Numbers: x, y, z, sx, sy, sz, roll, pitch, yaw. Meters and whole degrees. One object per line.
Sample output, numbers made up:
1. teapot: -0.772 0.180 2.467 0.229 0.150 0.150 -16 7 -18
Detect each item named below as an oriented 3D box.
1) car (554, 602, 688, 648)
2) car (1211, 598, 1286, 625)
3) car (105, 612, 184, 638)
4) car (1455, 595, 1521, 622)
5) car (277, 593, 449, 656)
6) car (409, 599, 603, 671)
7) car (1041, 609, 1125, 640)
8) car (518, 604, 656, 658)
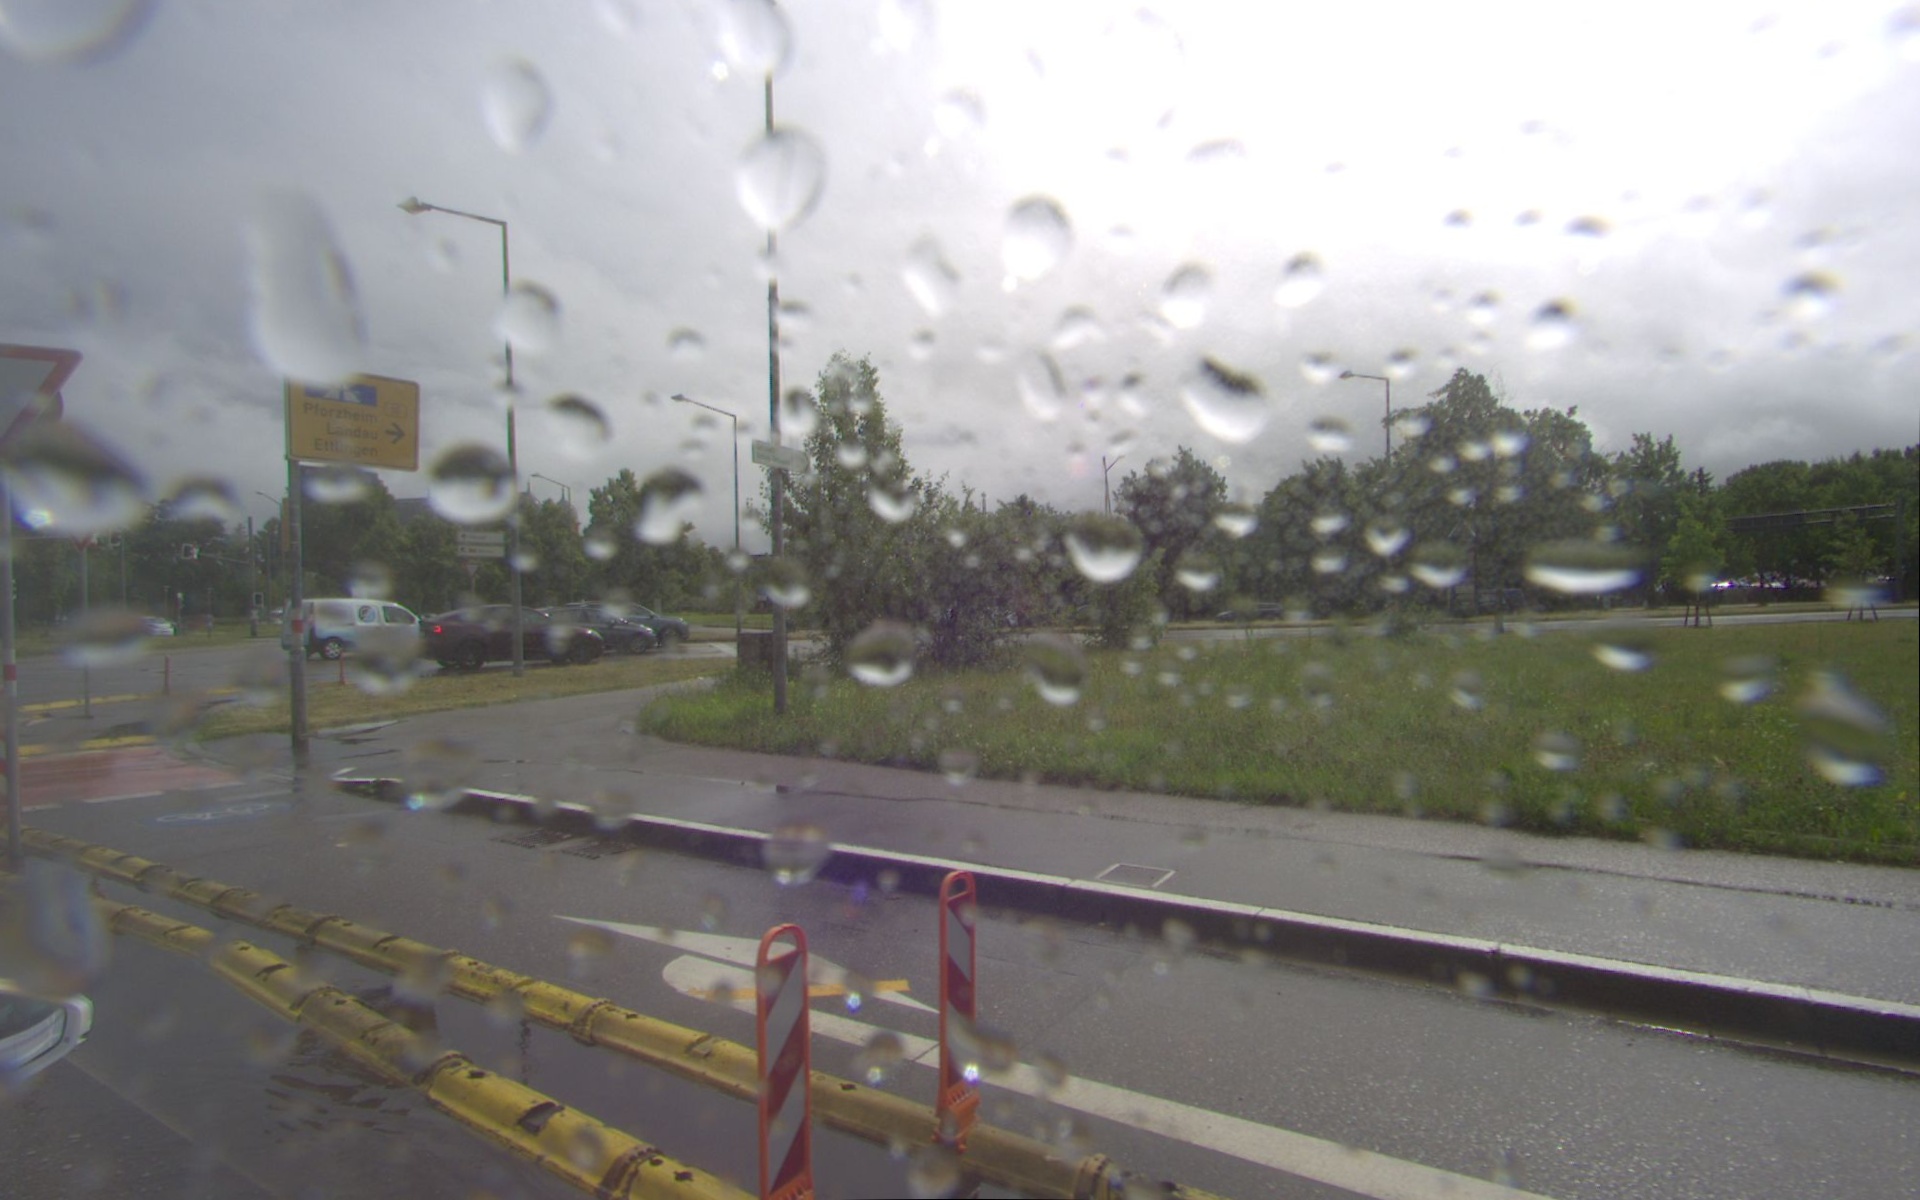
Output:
1. car: -12.439 0.887 36.865 4.348 1.568 1.857 0 0 -36
2. car: 17.628 0.709 61.220 4.157 1.580 1.541 -1 0 -14
3. car: -50.681 1.538 62.238 3.519 1.568 1.734 0 0 2
4. car: 32.813 0.509 62.260 3.459 1.580 1.541 -1 0 -14
5. car: -18.800 0.740 31.746 1.841 1.833 4.386 0 0 28
6. car: -12.070 0.866 26.784 4.311 1.748 1.981 -1 0 -43
7. car: 6.746 1.350 55.077 4.226 1.581 1.911 -1 0 -14
8. car: -12.082 0.963 32.508 3.906 1.666 1.659 0 0 -37
